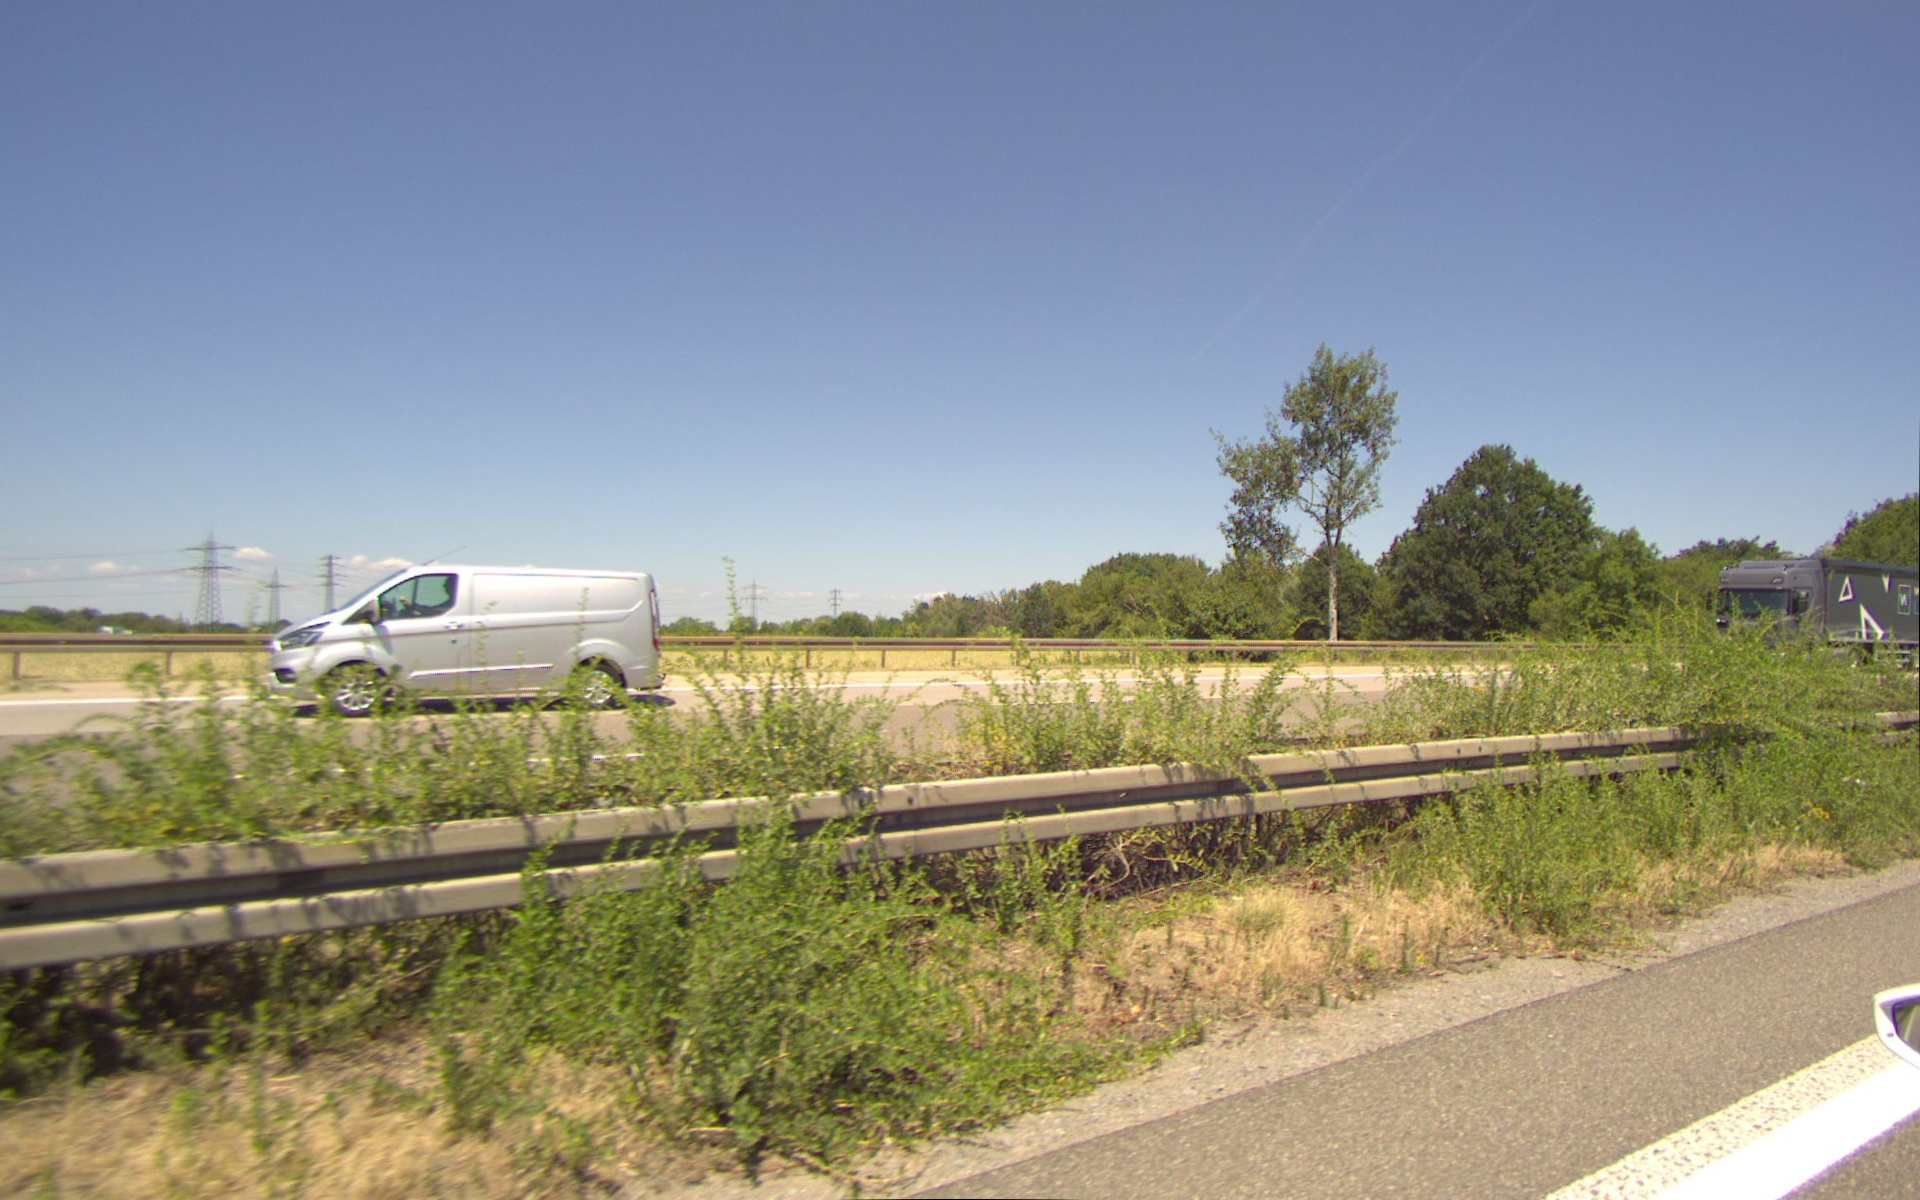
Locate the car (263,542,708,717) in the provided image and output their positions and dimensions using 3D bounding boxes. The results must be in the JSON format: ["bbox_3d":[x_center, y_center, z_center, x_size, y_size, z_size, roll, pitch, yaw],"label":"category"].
[{"bbox_3d":[-6.535,0.436,14.314,5.345,2.098,2.048,2,-1,-30],"label":"car"}]

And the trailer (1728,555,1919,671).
[{"bbox_3d":[35.013,0.617,39.162,13.888,4.000,2.867,2,-1,-30],"label":"trailer"}]

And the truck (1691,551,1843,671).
[{"bbox_3d":[28.473,0.430,35.467,3.951,3.968,2.881,1,-1,-29],"label":"truck"}]
